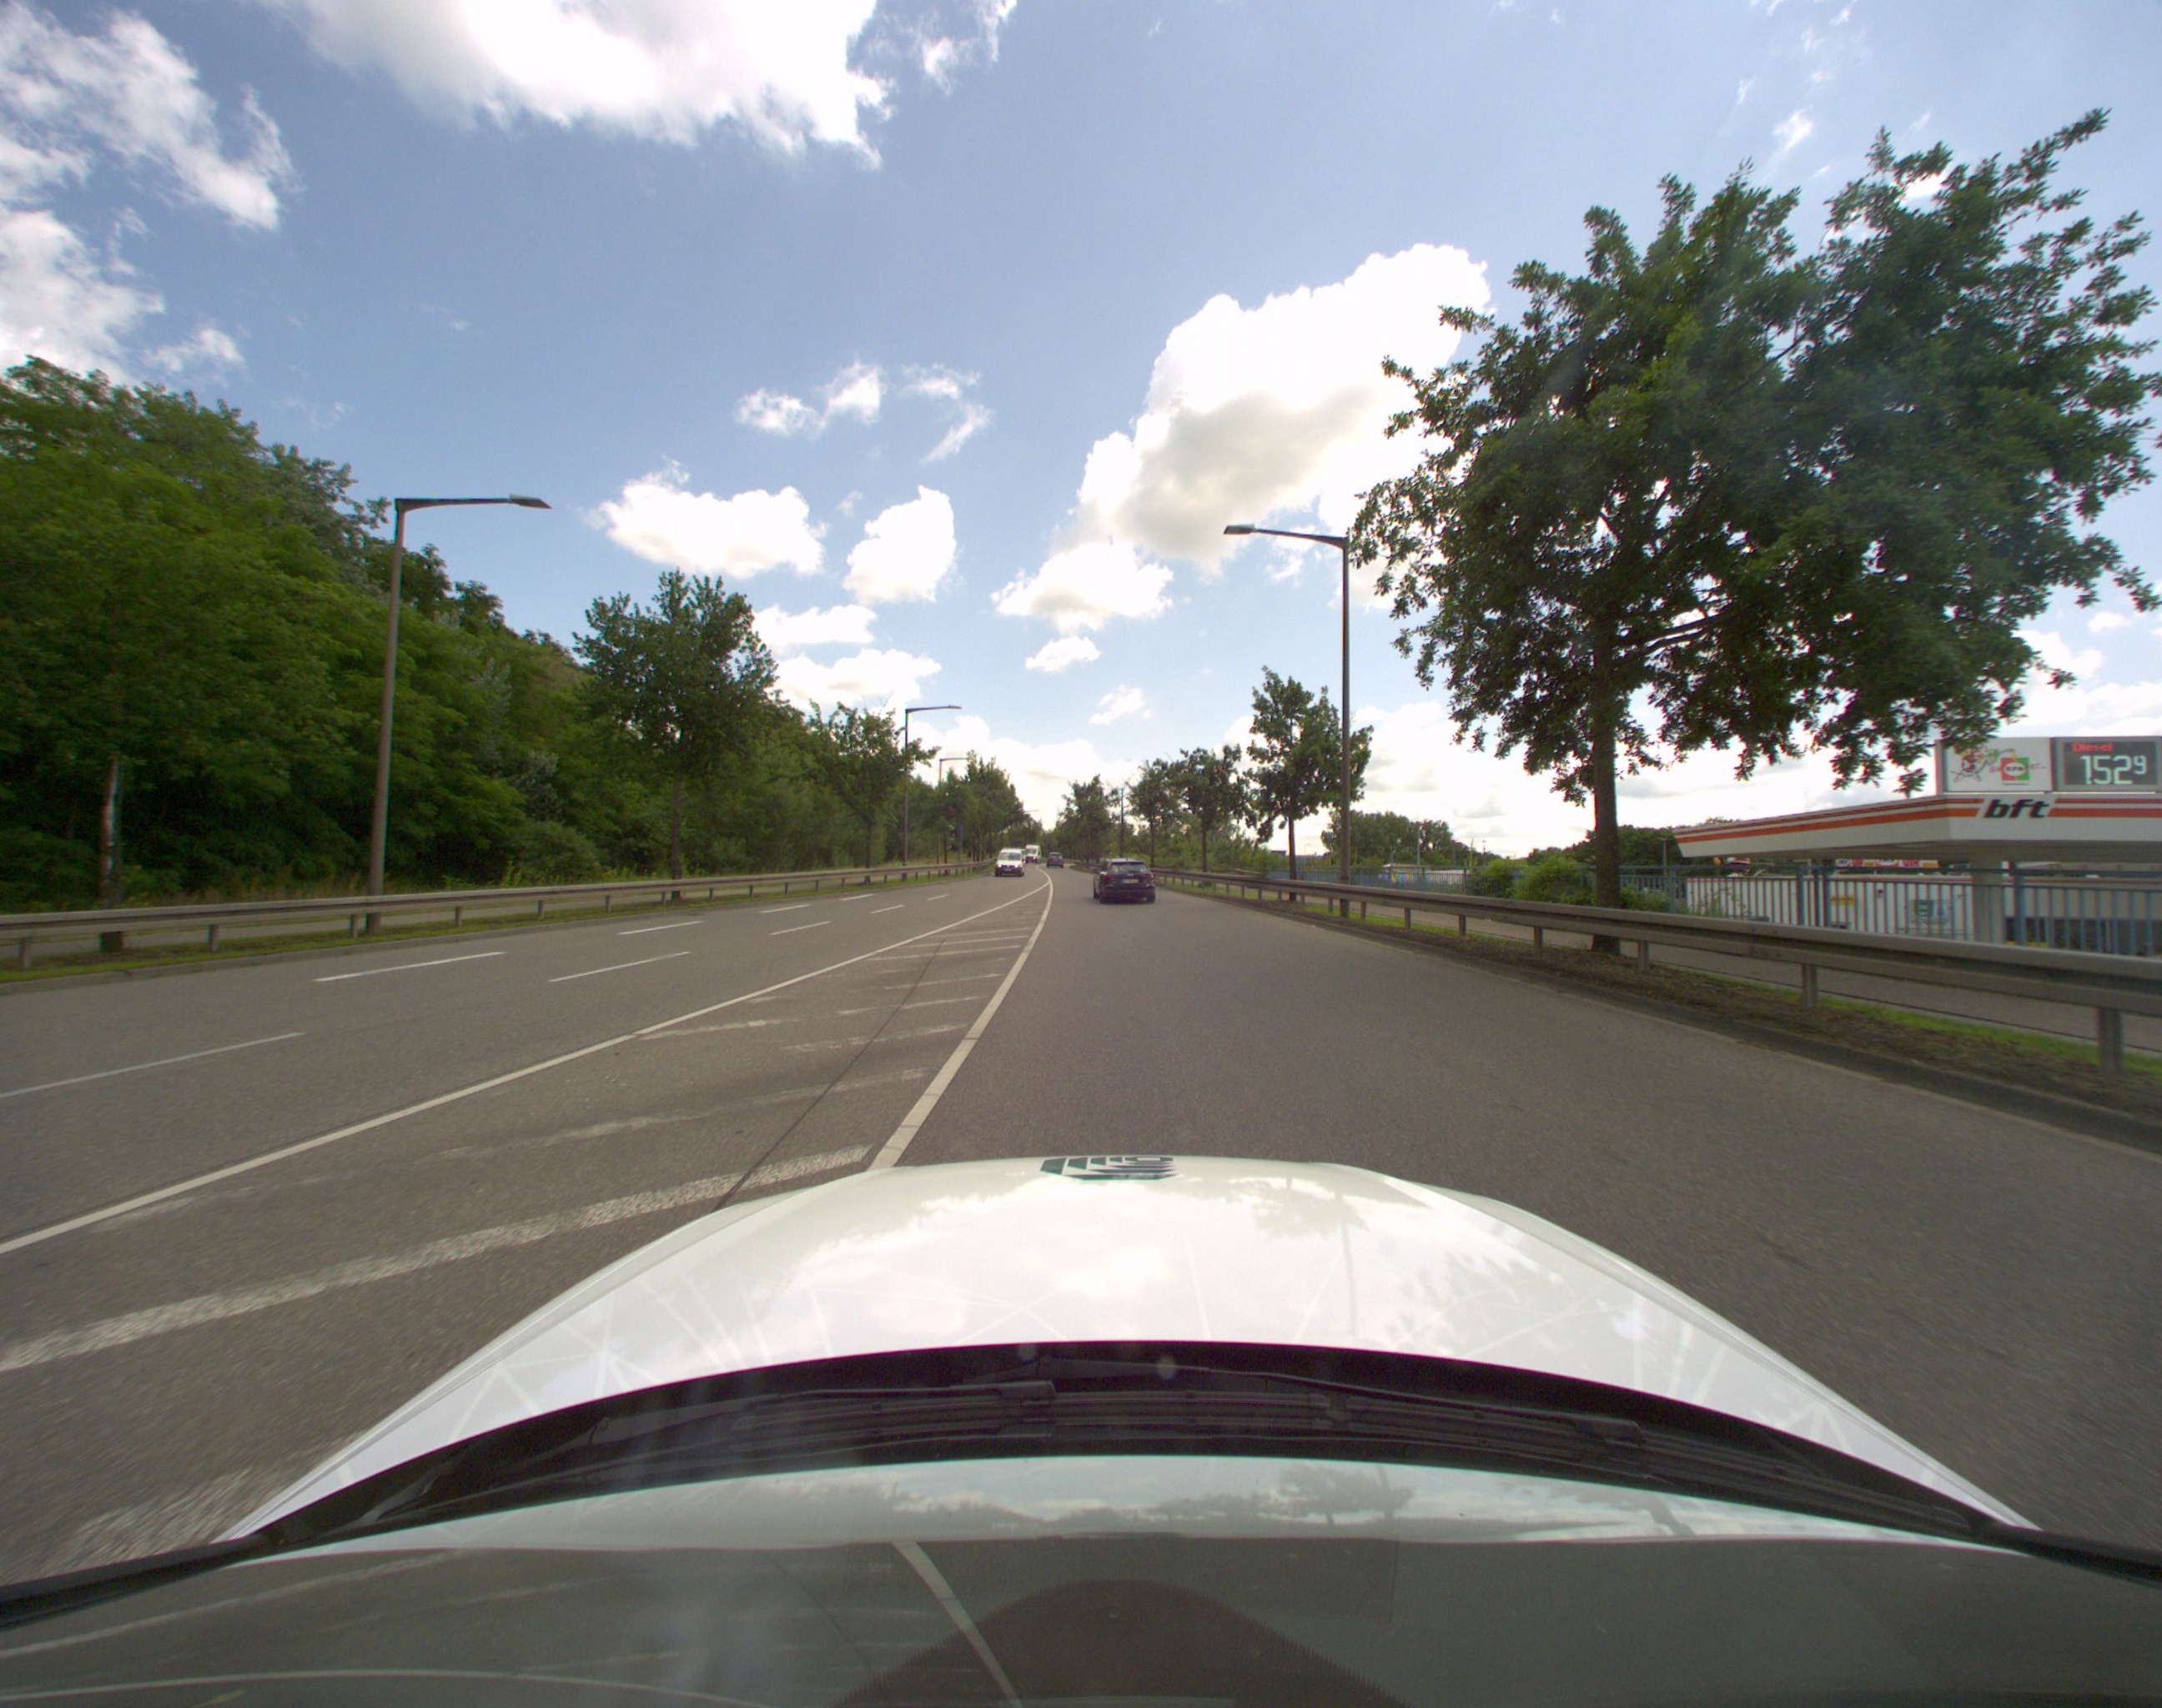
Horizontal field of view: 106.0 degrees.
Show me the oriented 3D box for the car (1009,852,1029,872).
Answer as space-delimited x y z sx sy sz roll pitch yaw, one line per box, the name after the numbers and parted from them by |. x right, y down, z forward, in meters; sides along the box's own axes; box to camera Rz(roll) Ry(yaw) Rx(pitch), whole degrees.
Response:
-6.877 0.896 90.272 1.990 2.014 4.446 3 -2 -5 | car

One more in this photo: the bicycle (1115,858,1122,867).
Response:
3.495 0.794 75.590 0.540 0.866 1.749 2 -2 0 | bicycle

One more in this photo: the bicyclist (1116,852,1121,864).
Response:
3.498 0.378 75.690 0.472 1.168 0.827 -1 -2 0 | bicyclist

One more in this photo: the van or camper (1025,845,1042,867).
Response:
-6.420 0.256 109.421 1.990 2.750 5.377 2 -2 -4 | van or camper

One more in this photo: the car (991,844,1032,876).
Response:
-4.579 0.393 54.301 1.985 2.013 4.563 1 0 4 | car

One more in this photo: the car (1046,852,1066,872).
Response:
-2.738 0.881 90.295 1.987 2.038 4.711 1 -3 0 | car

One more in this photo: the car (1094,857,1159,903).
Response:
1.468 0.837 27.512 1.986 1.390 4.576 2 -1 1 | car
